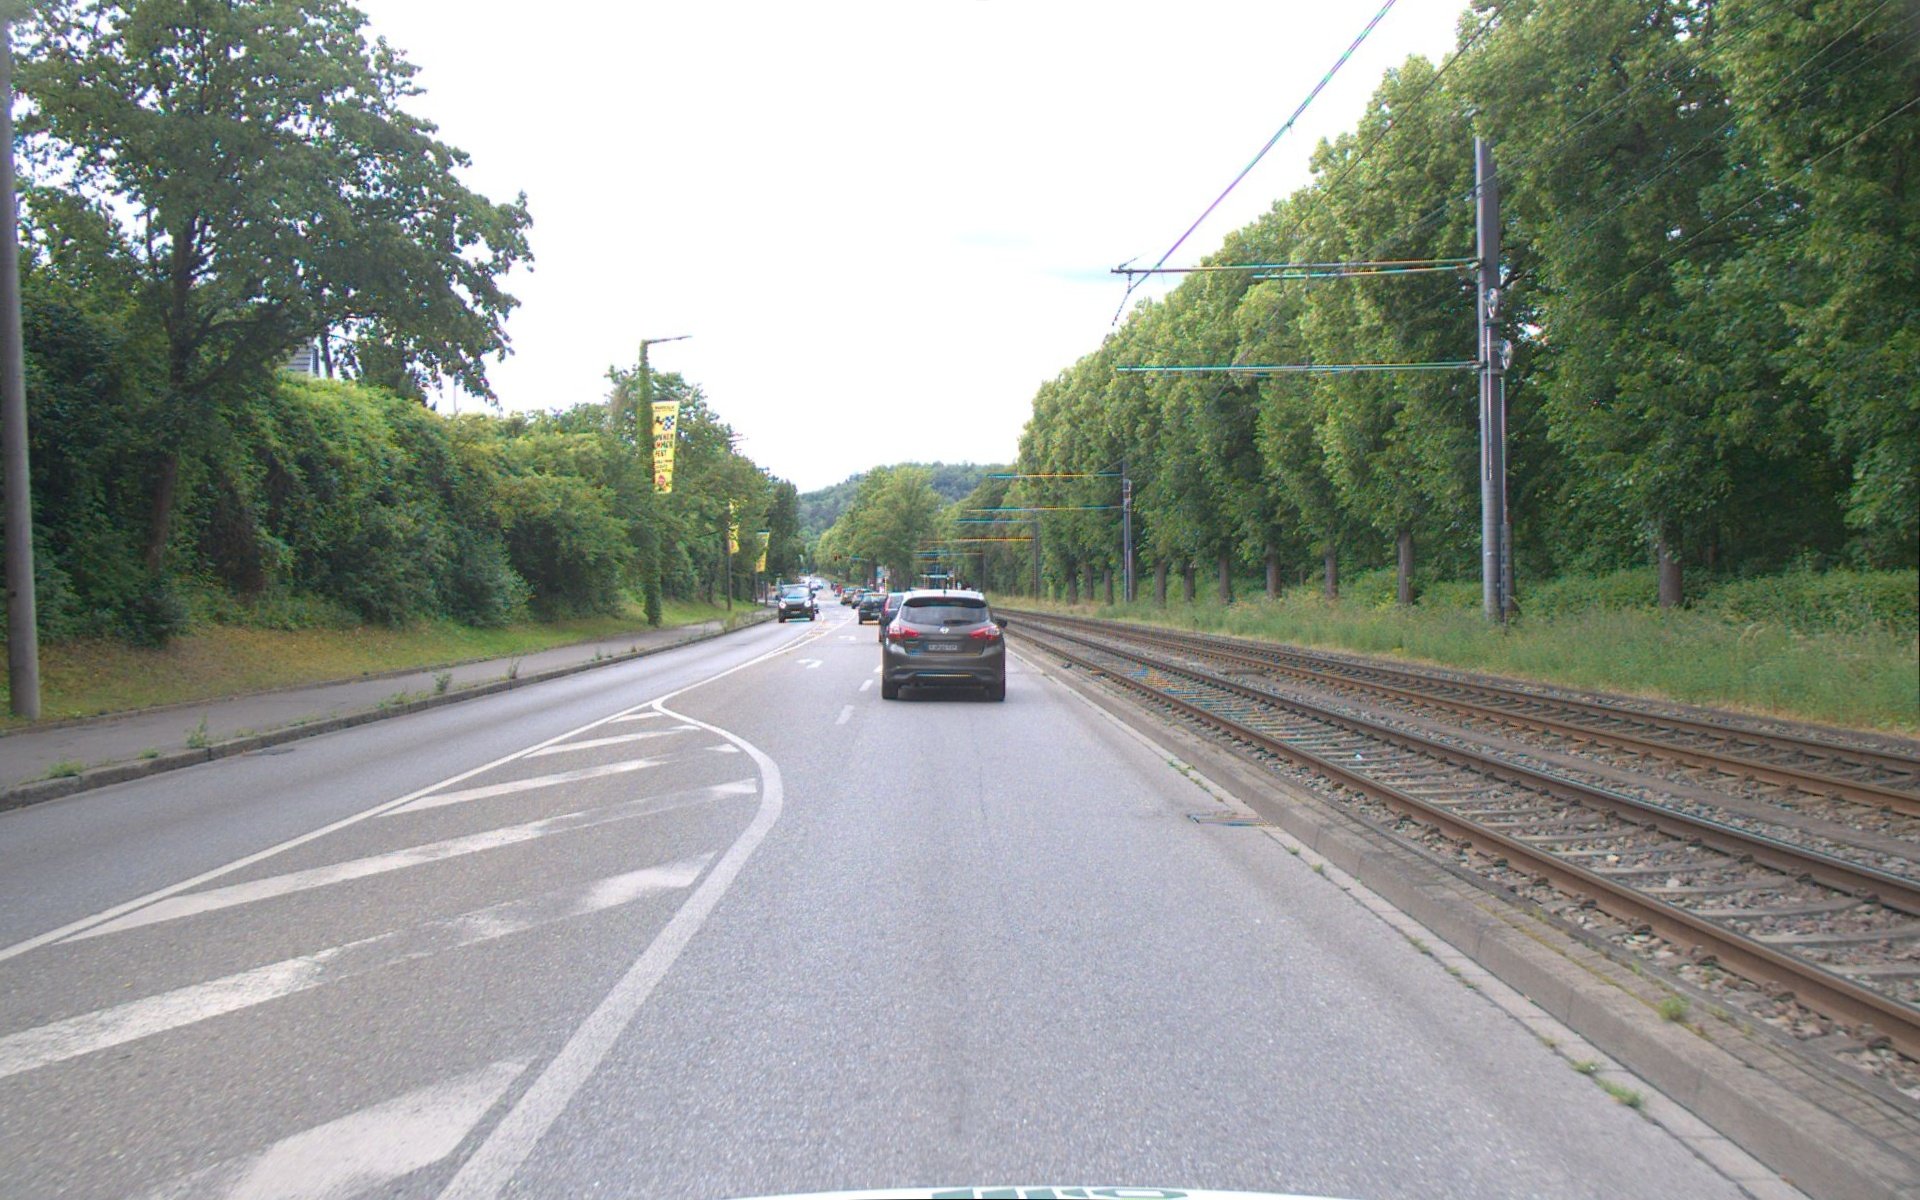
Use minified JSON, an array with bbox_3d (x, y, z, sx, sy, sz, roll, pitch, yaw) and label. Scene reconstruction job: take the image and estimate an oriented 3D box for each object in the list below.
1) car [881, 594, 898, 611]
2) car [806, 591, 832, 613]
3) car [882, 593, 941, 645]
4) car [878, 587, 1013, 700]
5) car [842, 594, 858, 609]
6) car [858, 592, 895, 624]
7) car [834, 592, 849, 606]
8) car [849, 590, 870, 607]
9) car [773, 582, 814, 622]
[{"bbox_3d":[-6.870,0.250,160.886,1.681,1.577,3.998,0,-1,-2],"label":"car"},{"bbox_3d":[-10.929,0.140,128.031,1.805,1.648,4.157,-2,0,-3],"label":"car"},{"bbox_3d":[-1.432,0.540,48.829,1.665,1.469,3.999,0,0,-2],"label":"car"},{"bbox_3d":[-0.213,0.592,24.329,1.813,1.519,3.999,1,0,-1],"label":"car"},{"bbox_3d":[-12.706,0.184,191.025,1.665,1.744,3.999,0,0,-1],"label":"car"},{"bbox_3d":[-3.908,0.380,78.227,1.665,1.469,3.999,0,0,-2],"label":"car"},{"bbox_3d":[-14.376,-0.124,200.639,1.665,1.744,3.999,0,0,-1],"label":"car"},{"bbox_3d":[-9.547,-0.146,157.124,1.758,1.537,3.999,0,0,-1],"label":"car"},{"bbox_3d":[-9.335,0.104,92.970,1.954,2.072,5.113,-2,0,-3],"label":"car"}]
